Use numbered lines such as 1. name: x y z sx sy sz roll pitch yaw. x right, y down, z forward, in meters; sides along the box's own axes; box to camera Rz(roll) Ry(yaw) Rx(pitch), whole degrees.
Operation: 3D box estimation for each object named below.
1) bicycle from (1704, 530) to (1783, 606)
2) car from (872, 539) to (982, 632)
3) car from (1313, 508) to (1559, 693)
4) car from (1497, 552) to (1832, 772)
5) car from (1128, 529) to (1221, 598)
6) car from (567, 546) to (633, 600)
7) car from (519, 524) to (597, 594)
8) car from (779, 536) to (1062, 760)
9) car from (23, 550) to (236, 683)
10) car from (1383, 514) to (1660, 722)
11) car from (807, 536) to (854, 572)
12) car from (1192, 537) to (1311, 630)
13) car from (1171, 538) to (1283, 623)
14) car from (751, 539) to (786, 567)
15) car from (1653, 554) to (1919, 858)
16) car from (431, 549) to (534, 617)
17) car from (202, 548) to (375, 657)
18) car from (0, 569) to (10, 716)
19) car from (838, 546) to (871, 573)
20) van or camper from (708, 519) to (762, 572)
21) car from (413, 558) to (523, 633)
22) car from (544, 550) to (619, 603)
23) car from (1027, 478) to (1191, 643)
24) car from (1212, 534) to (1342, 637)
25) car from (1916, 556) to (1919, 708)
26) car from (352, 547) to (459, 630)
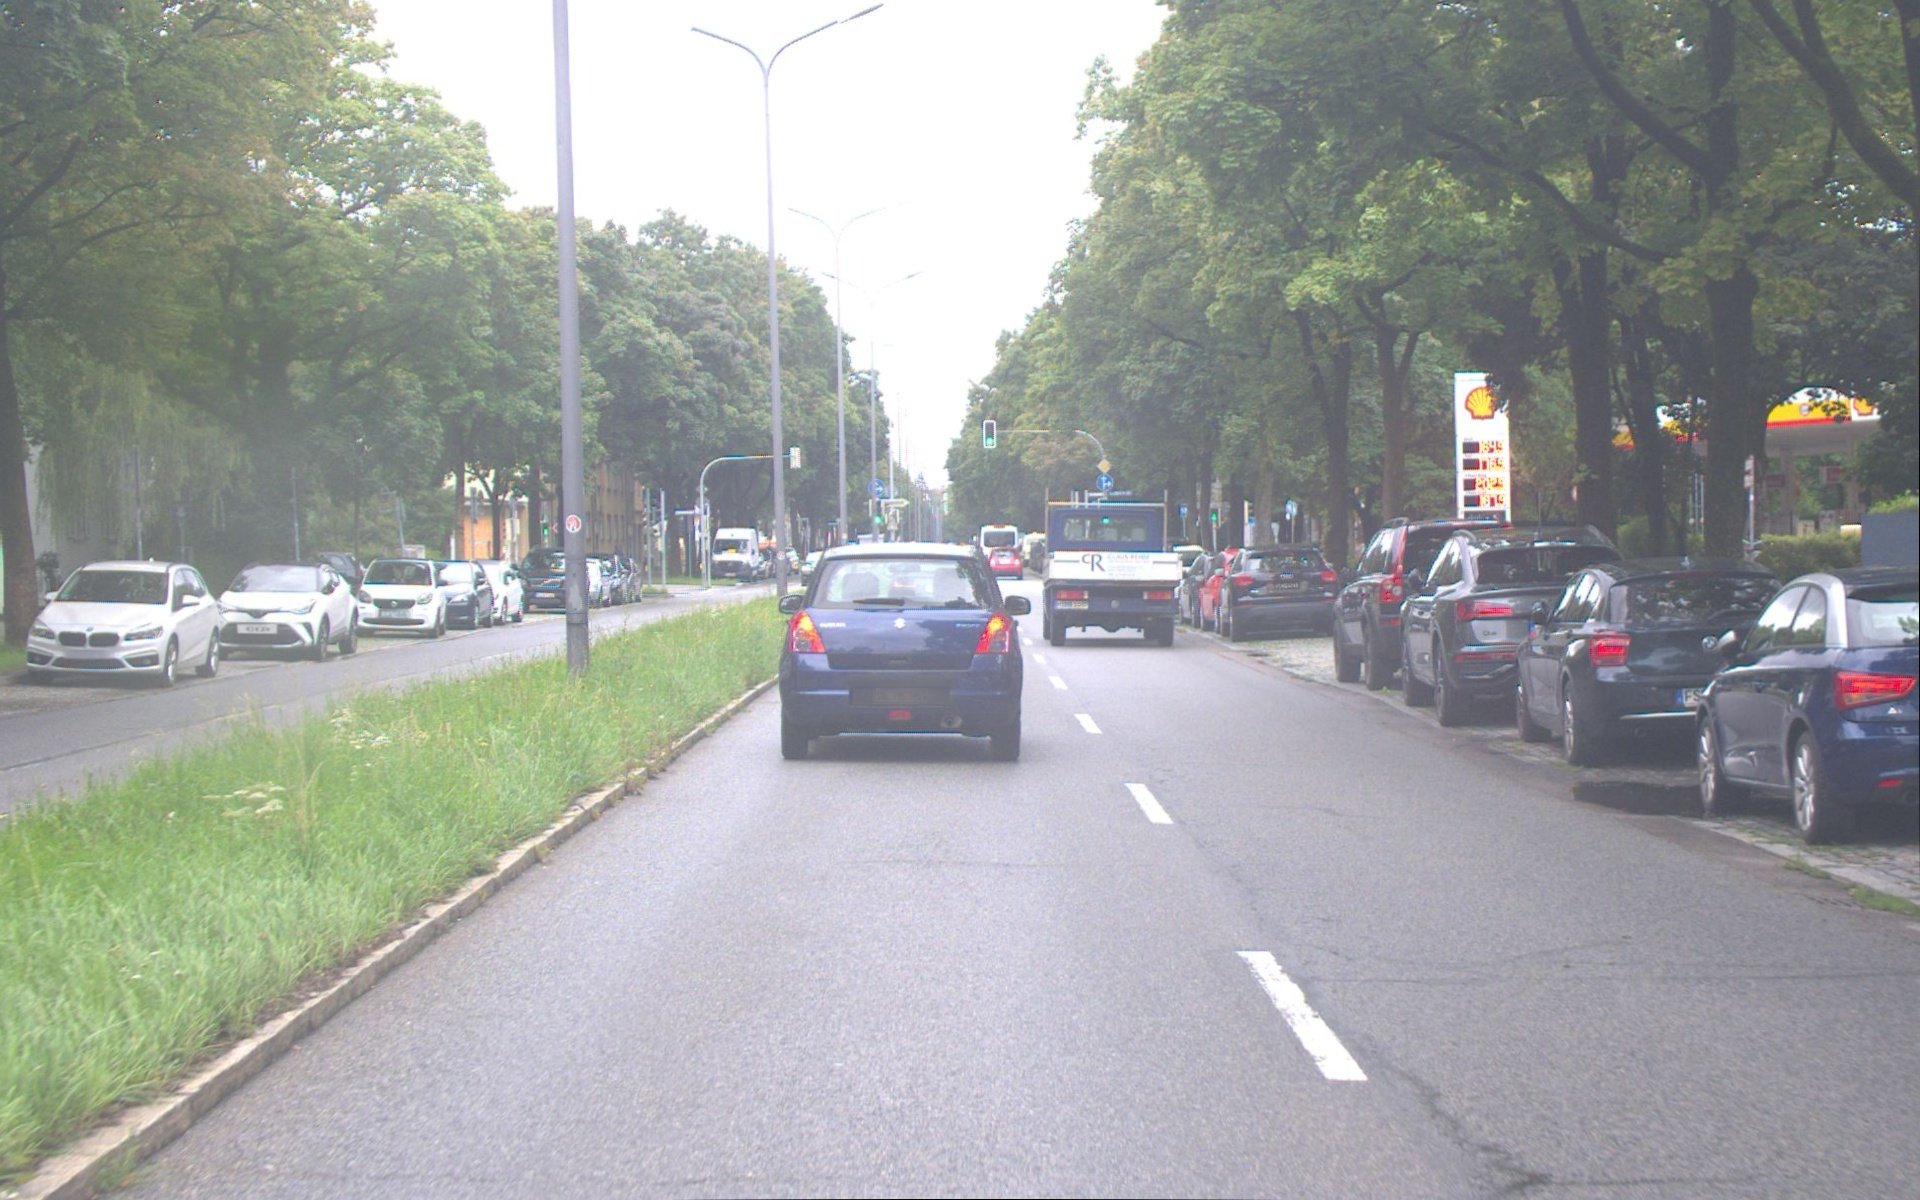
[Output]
1. bicycle: 12.595 -0.526 55.316 0.748 1.179 2.247 -1 1 0
2. car: -0.546 -0.276 59.400 1.799 1.494 3.660 -2 1 0
3. car: 5.015 -0.047 36.834 1.892 1.794 4.862 -2 1 0
4. car: 5.096 0.386 25.403 1.702 1.403 4.512 -2 1 3
5. car: 4.914 -0.863 79.206 1.760 1.448 4.633 -3 1 0
6. car: -10.866 -0.844 104.074 1.666 1.557 4.300 -2 1 -2
7. car: -10.756 -1.120 92.181 1.796 1.757 5.059 2 1 -4
8. car: -0.358 0.288 25.002 1.896 1.494 3.661 0 1 -3
9. car: -10.803 0.173 45.027 1.757 1.589 4.490 1 1 -1
10. car: 4.939 0.100 30.844 1.813 1.670 4.799 -2 1 2
11. car: -5.418 -1.939 143.912 1.739 1.435 4.215 -2 1 0
12. car: 5.096 -0.326 60.538 1.675 1.496 4.021 -3 1 0
13. car: 5.012 -0.398 64.962 1.675 1.448 4.583 -3 1 0
14. car: -10.430 -2.568 187.564 1.636 1.437 3.735 -2 1 0
15. car: 5.091 0.490 18.910 1.702 1.416 4.121 -2 1 0
16. car: -10.885 -0.403 78.617 1.674 1.438 4.320 2 1 0
17. car: -10.716 0.008 55.138 1.832 1.604 4.491 1 1 1
18. car: -10.764 0.463 33.180 1.760 1.508 4.948 1 1 1
19. car: -5.830 -2.244 190.404 1.737 1.437 4.103 -2 1 0
20. van or camper: -10.903 -2.647 166.958 2.140 2.467 6.259 -2 1 0
21. car: -10.480 -0.121 73.453 1.674 1.470 4.215 2 1 0
22. car: -10.873 -0.700 99.047 1.666 1.440 4.375 -2 1 0
23. car: 2.276 -0.630 53.610 2.419 2.435 5.086 0 1 2
24. car: 5.109 -0.269 55.910 1.779 1.506 4.285 -3 1 2
25. car: 5.230 0.536 13.712 1.702 1.441 3.978 -2 1 0
26. car: -10.954 -0.247 68.095 1.690 1.560 3.080 2 1 -2
